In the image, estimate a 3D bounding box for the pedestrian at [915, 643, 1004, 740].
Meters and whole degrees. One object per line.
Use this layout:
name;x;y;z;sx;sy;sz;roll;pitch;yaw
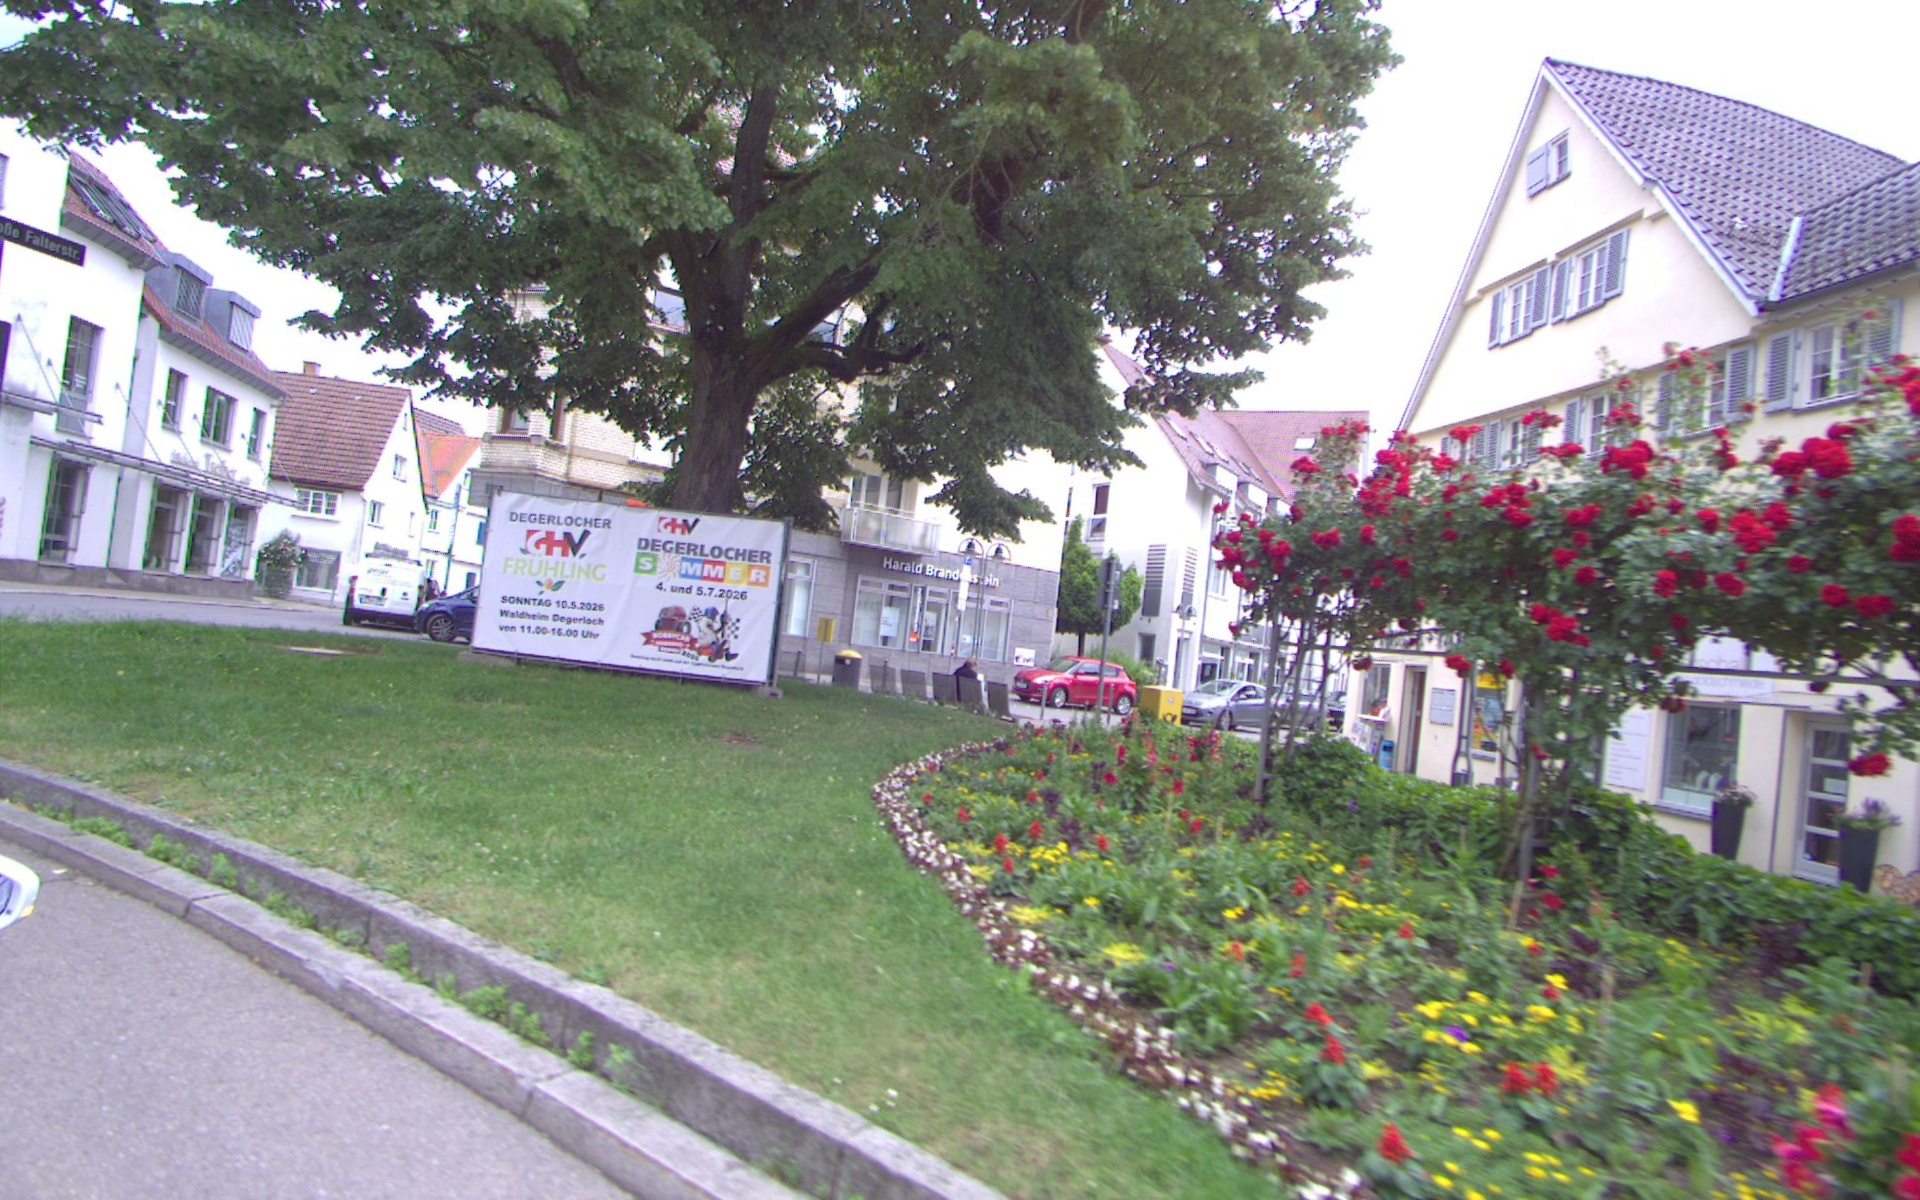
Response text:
pedestrian;-0.009;1.485;16.323;0.853;1.396;0.963;9;-2;-44

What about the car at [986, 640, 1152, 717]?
car;3.227;2.316;29.514;4.342;1.564;2.107;10;-3;-31

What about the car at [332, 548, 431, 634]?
car;-14.913;-0.224;26.110;1.811;1.812;4.193;9;-3;-27

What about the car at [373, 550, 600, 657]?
car;-10.397;0.125;22.295;3.947;1.722;1.866;7;-4;2

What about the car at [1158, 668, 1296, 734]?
car;8.031;3.040;30.110;3.973;1.533;1.767;8;-2;-36
